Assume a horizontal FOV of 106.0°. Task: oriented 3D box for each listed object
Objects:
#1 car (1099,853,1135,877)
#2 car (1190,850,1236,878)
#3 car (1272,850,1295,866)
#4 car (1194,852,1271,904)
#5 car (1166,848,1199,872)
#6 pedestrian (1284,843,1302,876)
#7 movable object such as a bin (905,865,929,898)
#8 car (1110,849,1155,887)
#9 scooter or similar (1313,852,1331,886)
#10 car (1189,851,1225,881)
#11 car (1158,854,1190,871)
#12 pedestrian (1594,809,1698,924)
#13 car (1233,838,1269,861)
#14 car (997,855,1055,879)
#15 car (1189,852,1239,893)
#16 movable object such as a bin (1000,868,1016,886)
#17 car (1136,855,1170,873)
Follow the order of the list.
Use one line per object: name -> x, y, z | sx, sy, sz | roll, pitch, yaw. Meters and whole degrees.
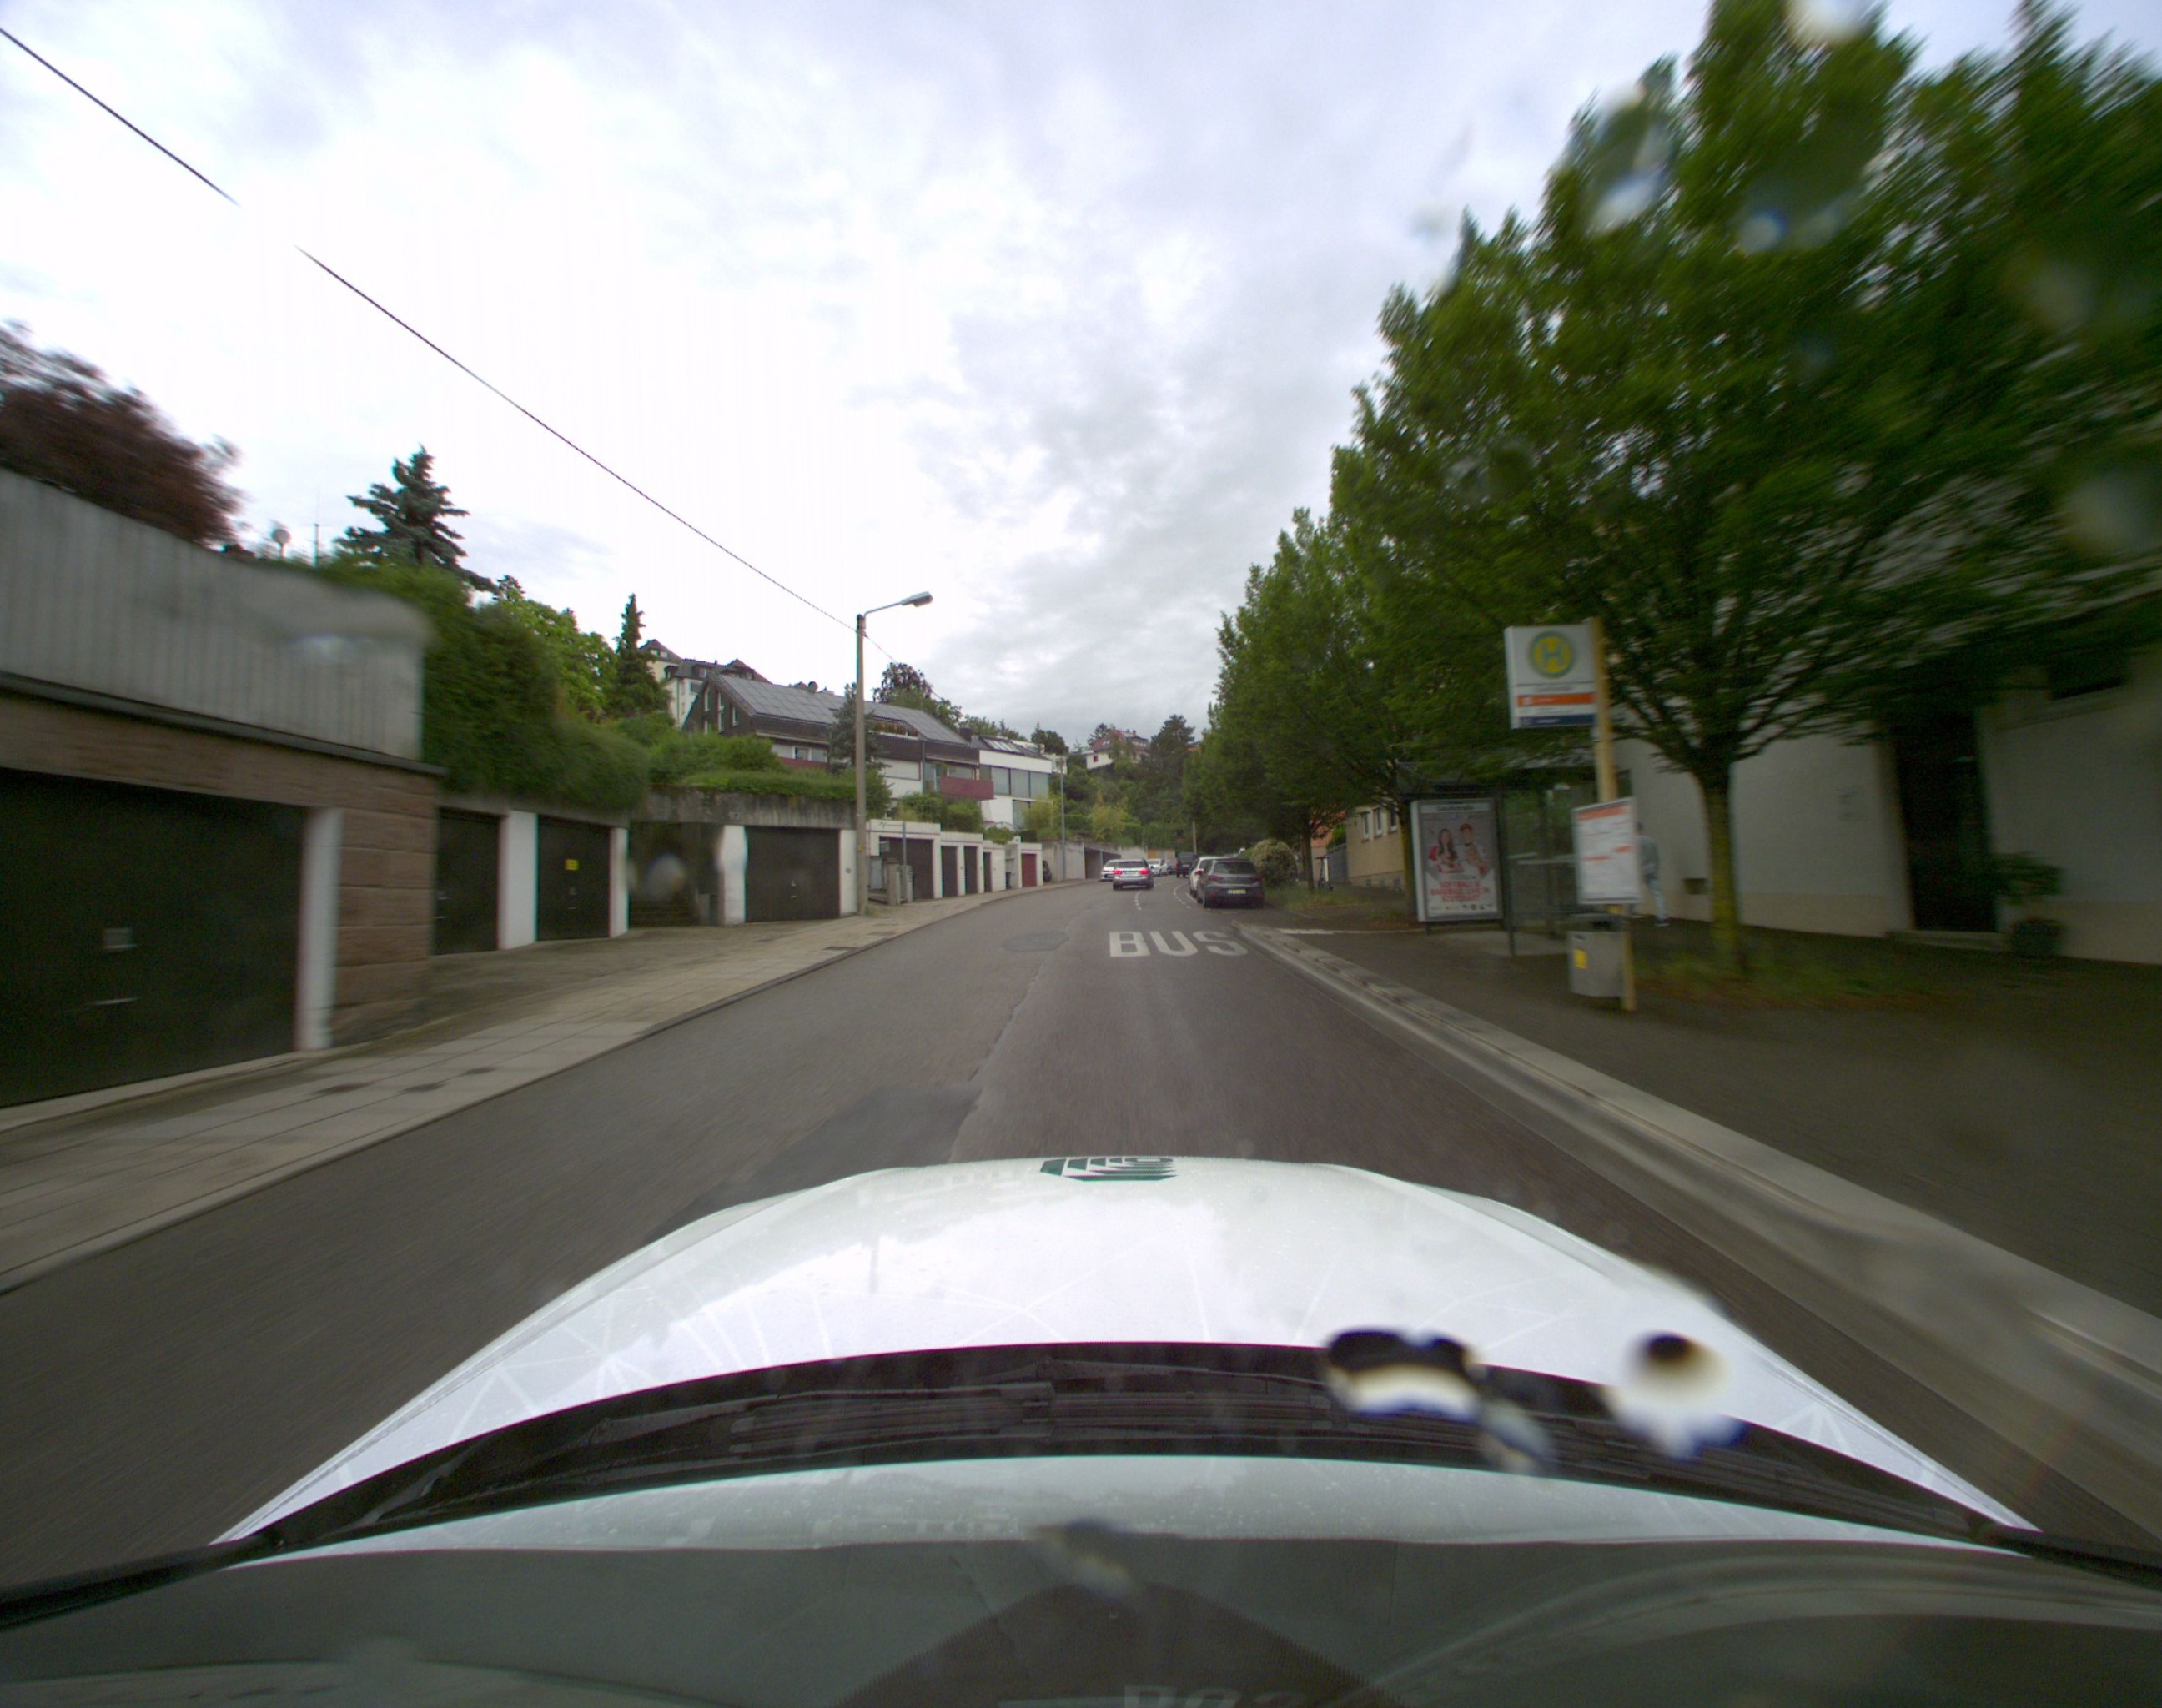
car -> 2.543, 0.761, 56.996 | 1.614, 1.516, 3.849 | -2, 0, 16
car -> 8.573, 0.584, 52.579 | 2.037, 1.656, 5.260 | -2, 0, 18
car -> 21.020, 0.403, 84.579 | 1.611, 1.562, 3.041 | -1, 0, 27
car -> 4.534, 0.673, 24.977 | 1.869, 1.416, 4.474 | -1, 0, 5
car -> 7.678, 0.443, 61.366 | 1.980, 1.708, 4.014 | -1, 0, 13
pedestrian -> 11.430, 0.277, 43.845 | 0.755, 1.720, 0.905 | -4, -1, 10
movable object such as a bin -> -5.713, 0.946, 28.386 | 0.604, 1.146, 0.522 | 1, -2, -44
car -> 2.511, 0.633, 39.374 | 2.016, 1.708, 4.219 | -1, 0, 4
scooter or similar -> 8.927, 0.543, 30.183 | 0.411, 1.245, 1.177 | -2, 0, 6
car -> 7.304, 0.652, 46.749 | 1.843, 1.581, 4.872 | -2, 0, 10
car -> 8.580, 0.776, 74.738 | 1.698, 1.459, 4.707 | -2, 0, 22
pedestrian -> 8.971, 0.190, 12.981 | 0.829, 1.686, 1.046 | -5, 0, 3
car -> 20.440, -0.521, 97.840 | 2.074, 2.550, 6.136 | -3, 0, 33
car -> -3.775, 0.855, 55.488 | 3.882, 1.478, 1.778 | 0, 1, 44
car -> 5.032, 0.658, 31.184 | 1.648, 1.489, 4.007 | 0, 0, 6
movable object such as a bin -> -3.922, 1.242, 43.837 | 0.537, 0.963, 0.650 | -1, 0, 41
car -> 6.074, 0.821, 68.350 | 1.817, 1.440, 4.060 | -3, -1, 19
